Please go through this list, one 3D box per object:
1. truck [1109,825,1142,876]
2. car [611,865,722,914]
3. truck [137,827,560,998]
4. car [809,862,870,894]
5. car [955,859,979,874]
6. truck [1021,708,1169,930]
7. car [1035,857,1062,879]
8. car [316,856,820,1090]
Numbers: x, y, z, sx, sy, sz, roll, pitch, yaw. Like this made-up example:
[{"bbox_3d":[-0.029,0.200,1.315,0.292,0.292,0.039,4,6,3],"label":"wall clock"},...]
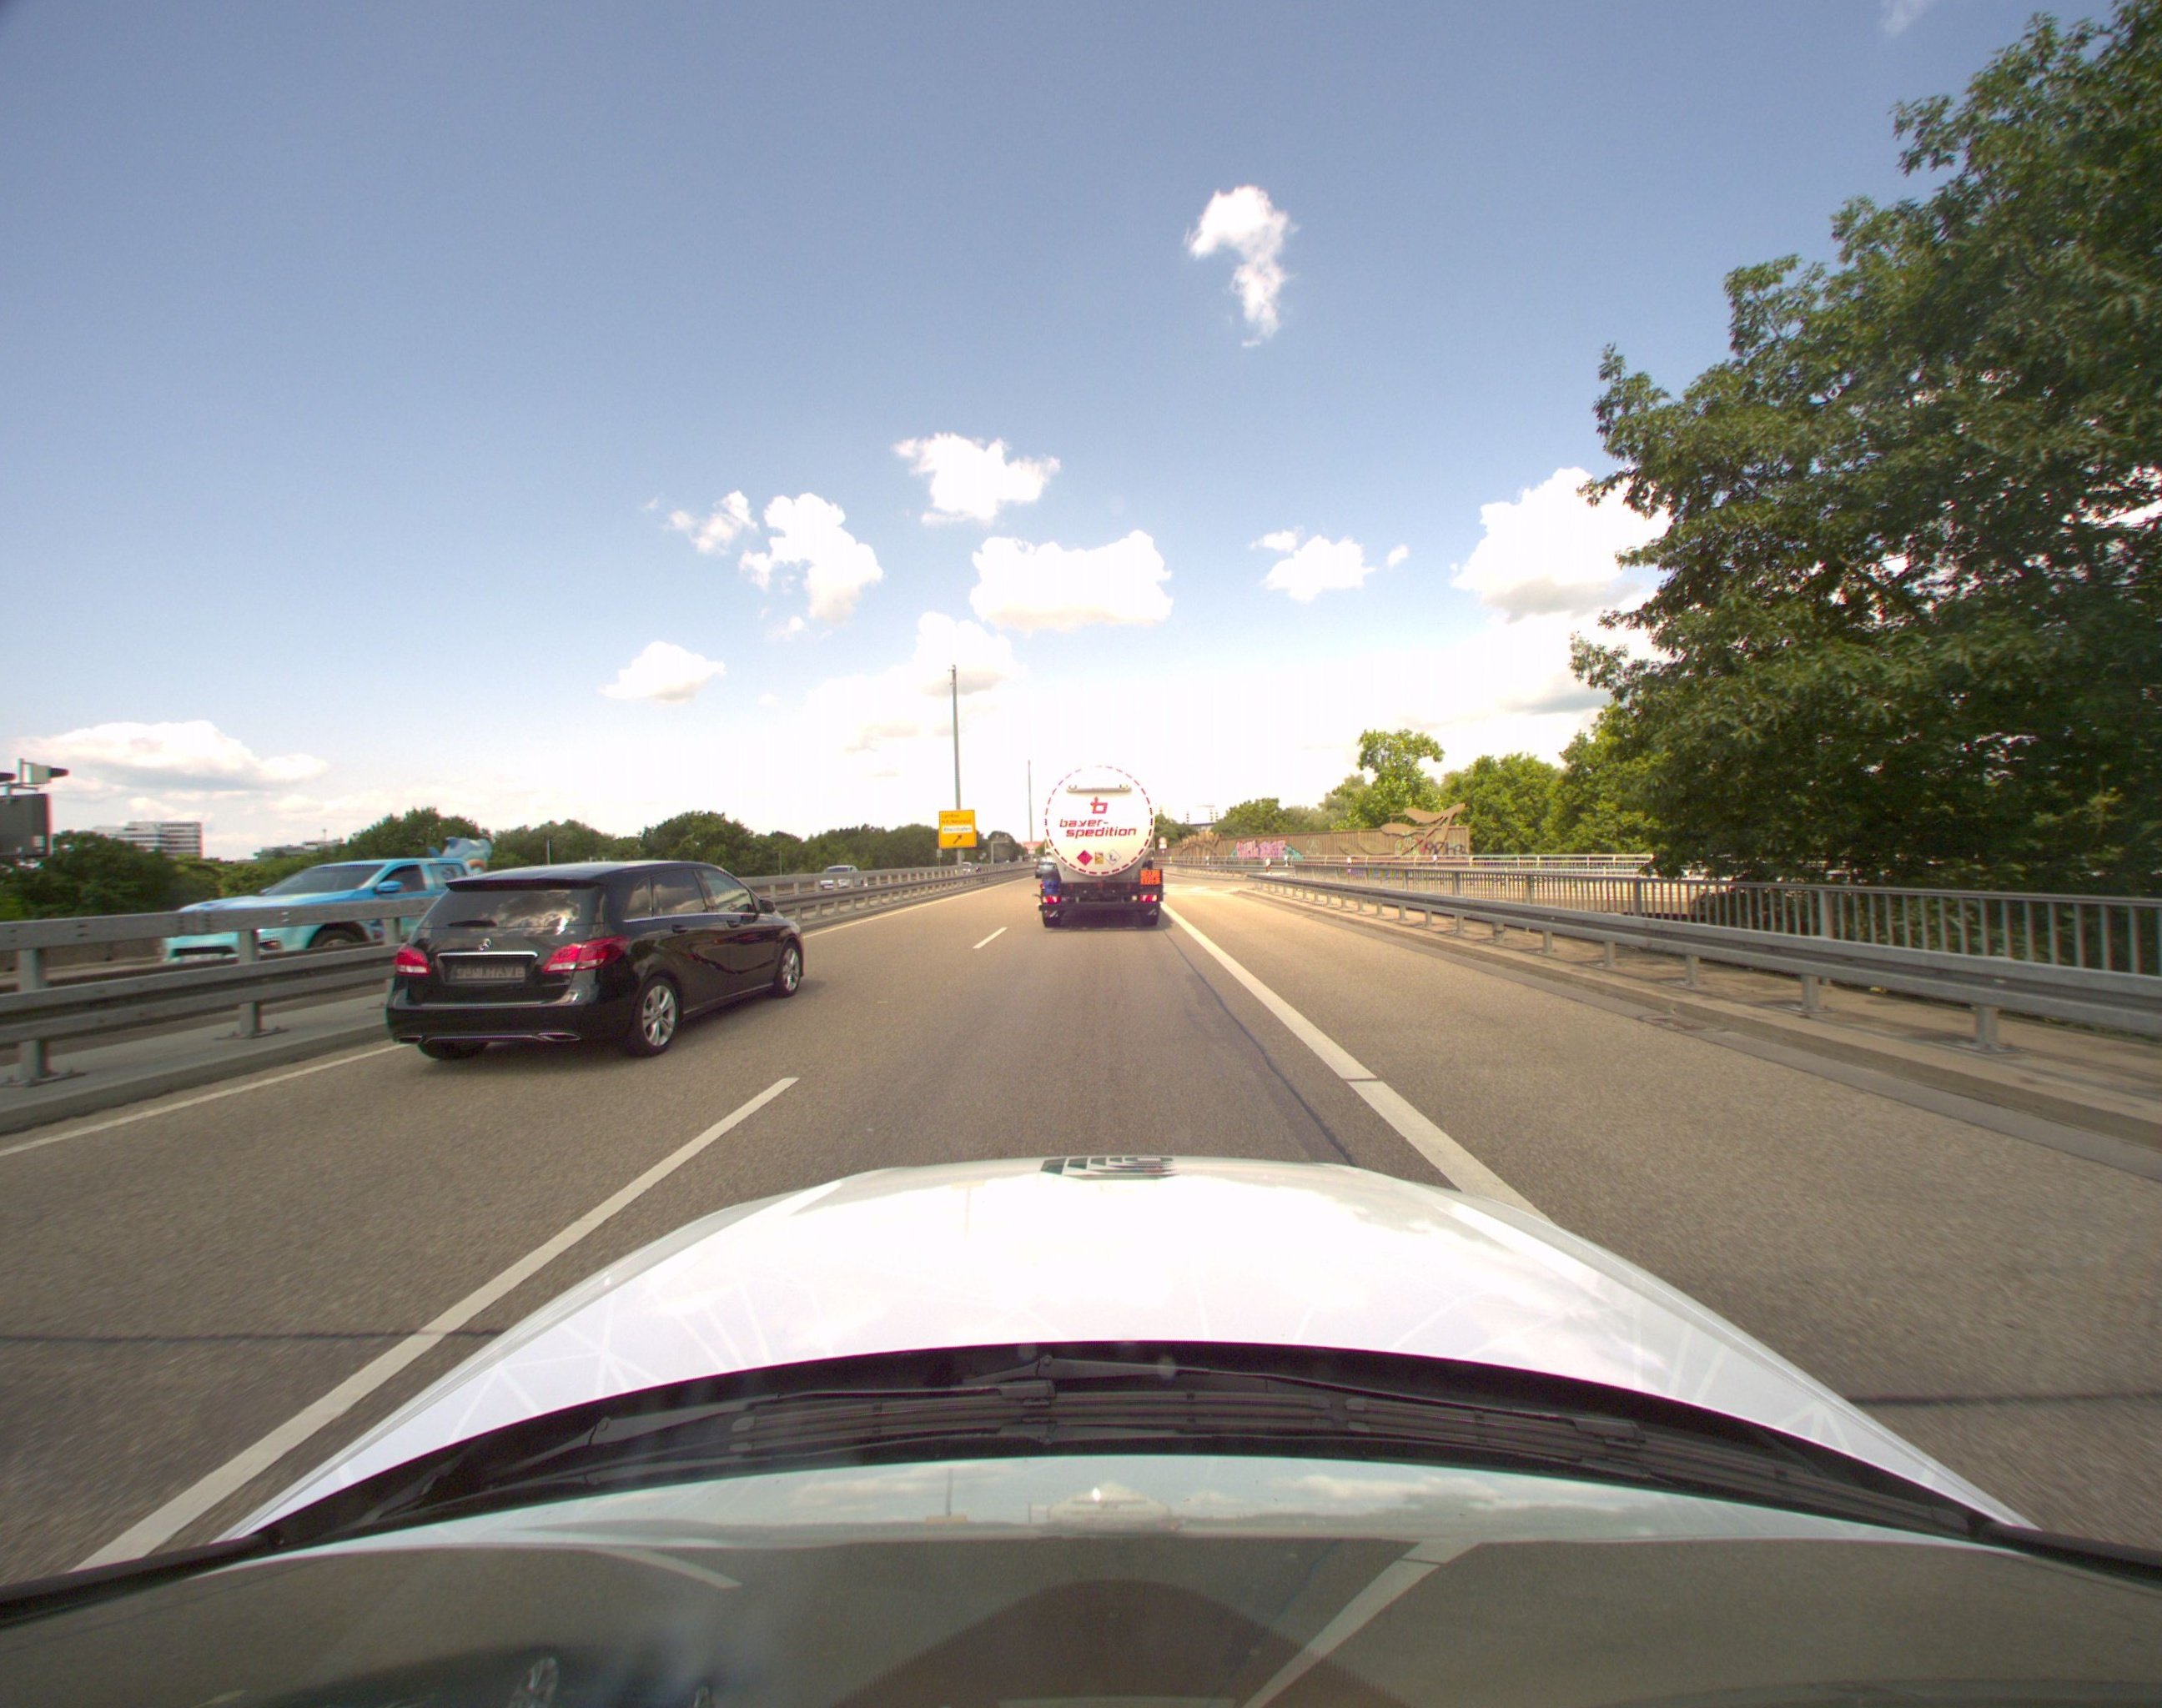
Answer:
[{"bbox_3d":[4.327,-0.303,80.899,2.885,4.808,8.030,0,0,1],"label":"truck"},{"bbox_3d":[-14.864,1.219,29.473,1.821,1.581,3.956,0,0,3],"label":"car"},{"bbox_3d":[-11.044,0.758,13.014,1.865,2.187,5.192,0,0,3],"label":"truck"},{"bbox_3d":[-12.489,1.208,42.387,1.896,1.529,4.242,0,0,0],"label":"car"},{"bbox_3d":[-12.898,1.404,92.460,1.790,1.596,4.715,-3,0,2],"label":"car"},{"bbox_3d":[0.354,-0.683,20.058,2.885,4.368,8.030,0,0,1],"label":"truck"},{"bbox_3d":[-2.368,0.989,60.452,1.741,1.531,4.001,-1,0,1],"label":"car"},{"bbox_3d":[-4.117,0.790,7.652,1.705,1.527,4.594,0,0,2],"label":"car"}]
